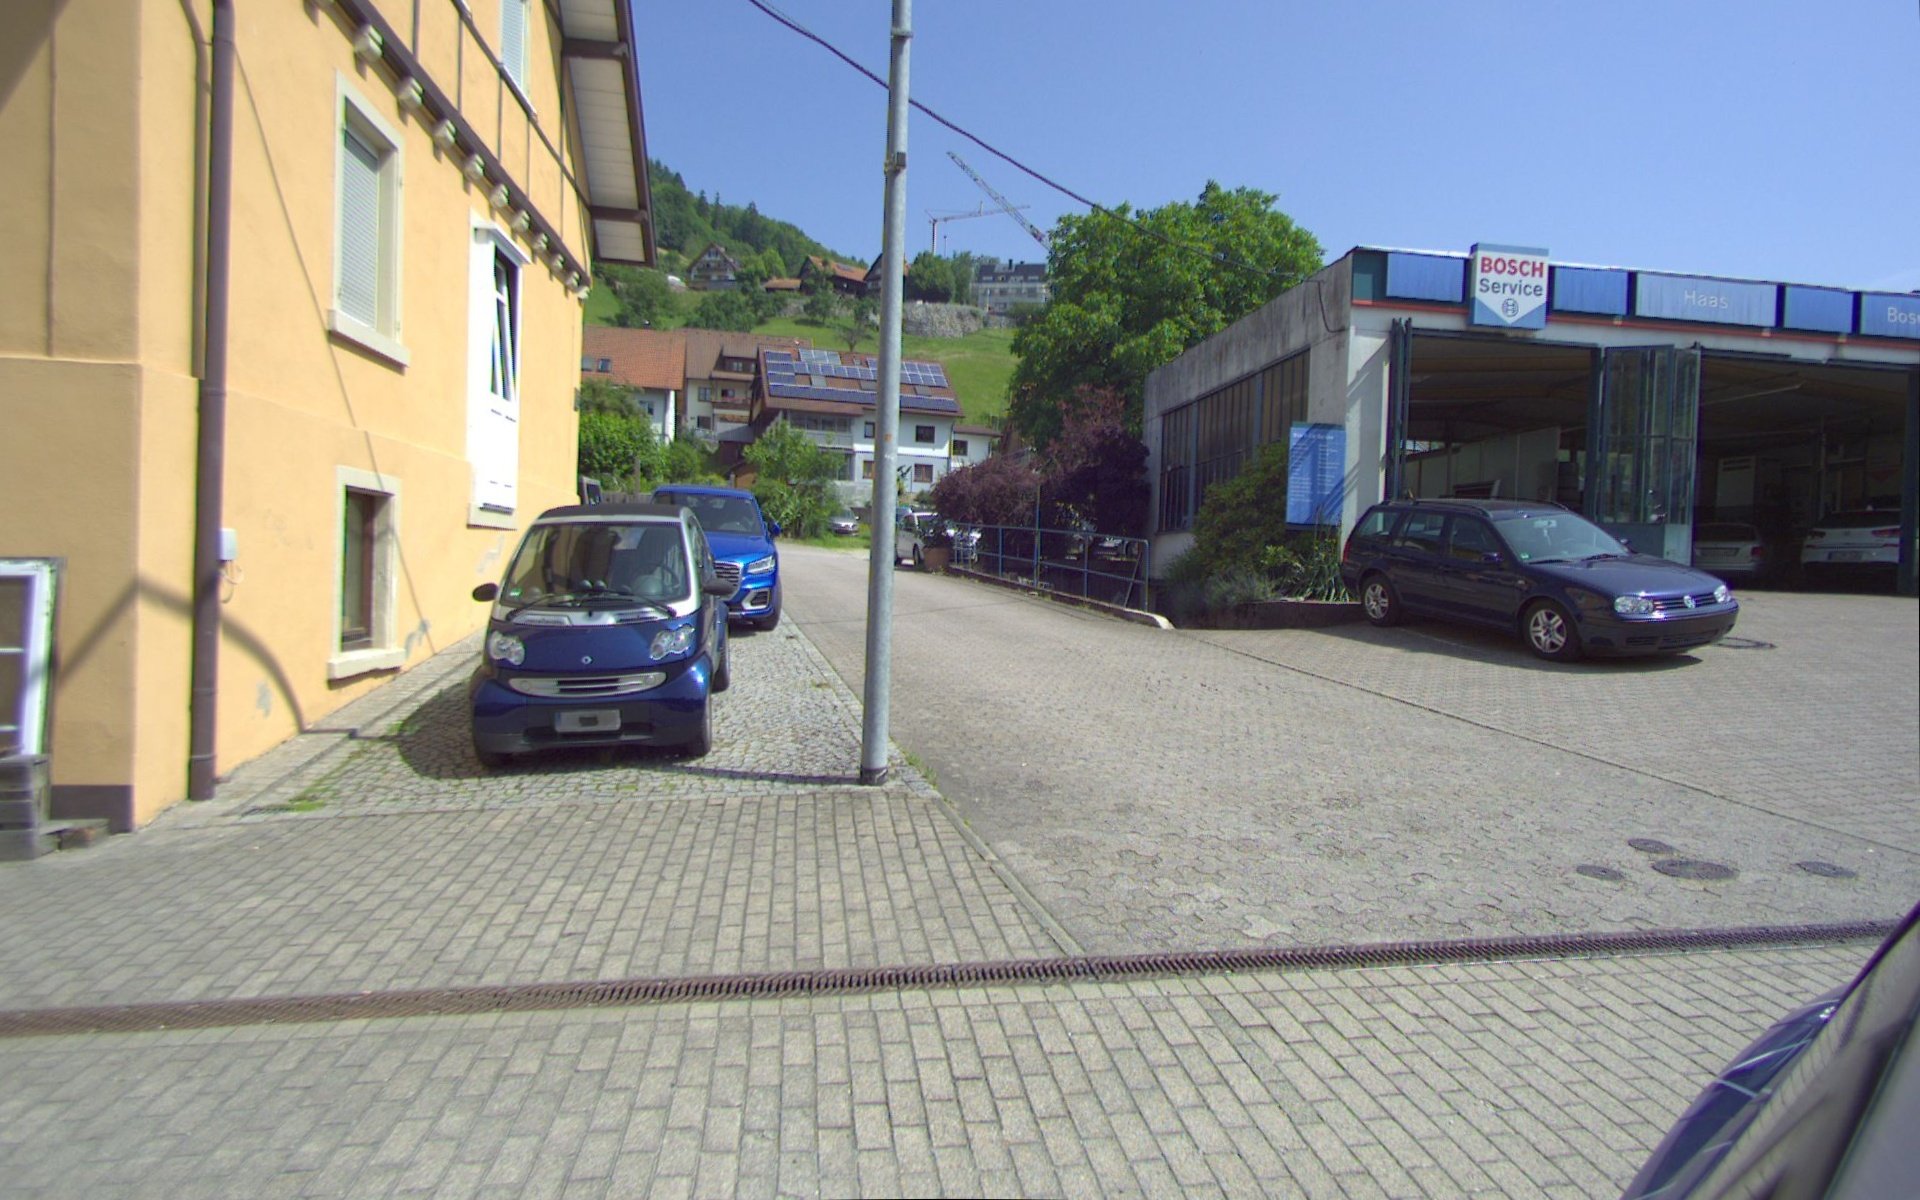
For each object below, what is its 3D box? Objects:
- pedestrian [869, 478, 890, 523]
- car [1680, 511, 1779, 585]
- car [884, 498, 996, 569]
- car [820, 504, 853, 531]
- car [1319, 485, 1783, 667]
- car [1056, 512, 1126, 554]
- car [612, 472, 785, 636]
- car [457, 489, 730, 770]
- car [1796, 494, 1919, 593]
[{"bbox_3d":[-4.532,-5.610,57.050,0.813,2.459,0.826,-4,7,-40],"label":"pedestrian"},{"bbox_3d":[16.682,-1.094,22.027,1.540,1.423,3.433,4,2,36],"label":"car"},{"bbox_3d":[-0.651,-1.852,26.907,1.958,1.663,4.893,-2,6,-14],"label":"car"},{"bbox_3d":[-6.295,-4.224,51.383,1.317,1.291,3.092,-1,6,-12],"label":"car"},{"bbox_3d":[6.070,-0.453,11.138,1.762,1.562,4.346,-3,6,-16],"label":"car"},{"bbox_3d":[5.409,-2.832,42.306,1.645,1.573,3.923,-1,6,-13],"label":"car"},{"bbox_3d":[-3.078,-0.661,12.262,1.699,1.644,3.947,0,6,-12],"label":"car"},{"bbox_3d":[-2.413,0.025,7.231,1.396,1.553,2.671,-2,8,-11],"label":"car"},{"bbox_3d":[17.881,-1.132,19.112,3.850,1.707,1.610,-3,6,-24],"label":"car"}]
